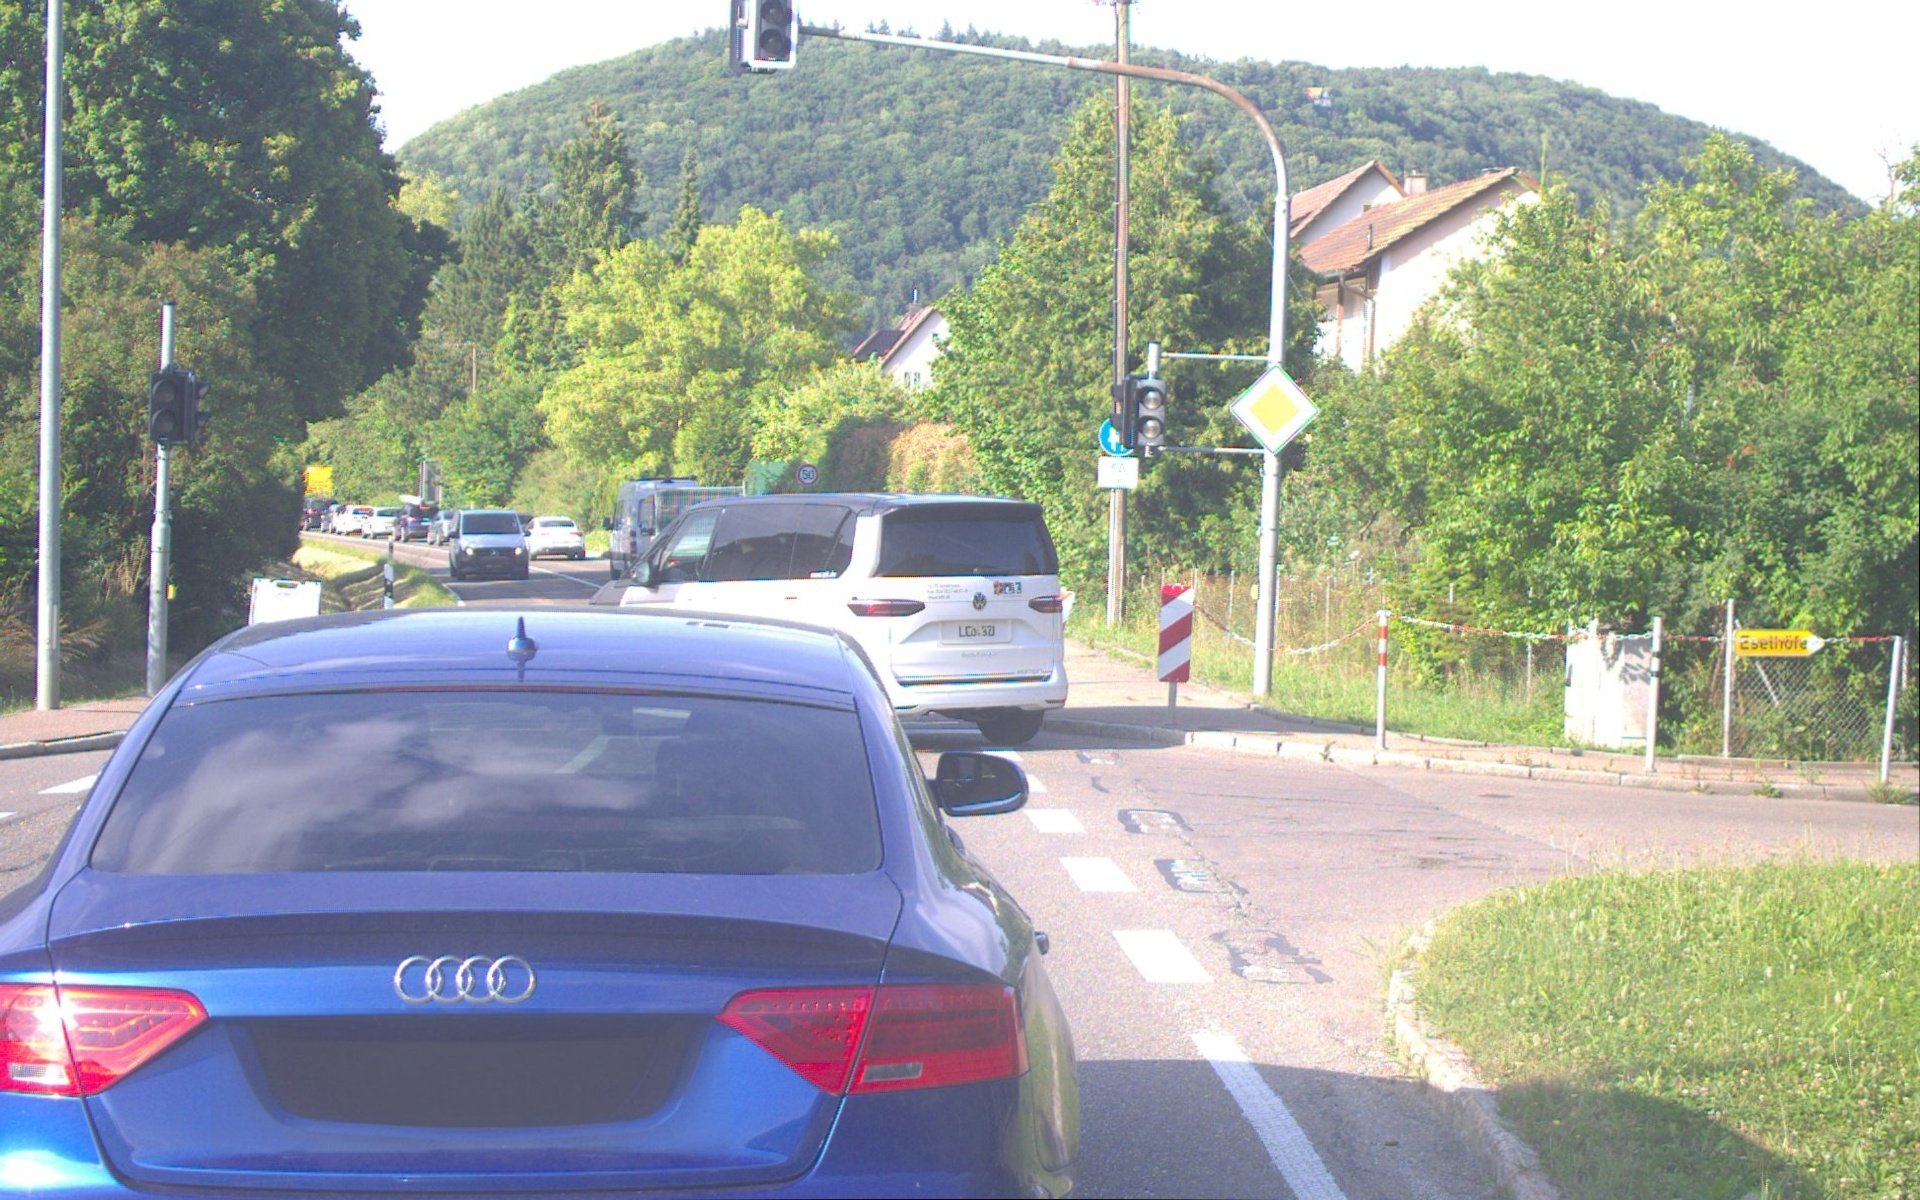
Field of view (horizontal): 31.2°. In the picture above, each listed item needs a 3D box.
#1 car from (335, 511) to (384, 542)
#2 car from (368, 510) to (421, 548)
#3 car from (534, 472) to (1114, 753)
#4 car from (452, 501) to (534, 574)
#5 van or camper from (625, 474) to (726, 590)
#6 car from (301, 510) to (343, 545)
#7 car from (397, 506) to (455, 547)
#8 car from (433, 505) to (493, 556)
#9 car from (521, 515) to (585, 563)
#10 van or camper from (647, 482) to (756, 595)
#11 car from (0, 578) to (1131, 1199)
[{"bbox_3d":[-28.861,-3.536,165.234,1.941,1.419,4.001,0,2,-16],"label":"car"},{"bbox_3d":[-25.729,-3.219,156.445,1.941,1.678,4.001,-1,1,-16],"label":"car"},{"bbox_3d":[-1.177,0.029,26.837,1.994,1.870,4.870,1,2,-38],"label":"car"},{"bbox_3d":[-12.698,-1.734,93.252,1.993,1.897,5.255,-1,2,-10],"label":"car"},{"bbox_3d":[-7.395,-1.780,88.895,2.414,2.894,6.133,0,2,-6],"label":"van or camper"},{"bbox_3d":[-32.974,-3.745,177.627,1.771,1.776,4.001,0,1,-16],"label":"car"},{"bbox_3d":[-23.007,-3.176,148.028,2.040,1.678,4.002,0,2,-16],"label":"car"},{"bbox_3d":[-20.152,-2.830,139.336,1.993,2.007,4.001,0,1,-15],"label":"car"},{"bbox_3d":[-13.412,-2.007,113.125,1.819,1.546,4.001,0,1,-11],"label":"car"},{"bbox_3d":[-5.690,-1.363,75.081,2.179,2.377,5.371,0,2,-6],"label":"van or camper"},{"bbox_3d":[-0.777,0.700,6.469,1.829,1.404,4.227,-1,1,-2],"label":"car"}]
